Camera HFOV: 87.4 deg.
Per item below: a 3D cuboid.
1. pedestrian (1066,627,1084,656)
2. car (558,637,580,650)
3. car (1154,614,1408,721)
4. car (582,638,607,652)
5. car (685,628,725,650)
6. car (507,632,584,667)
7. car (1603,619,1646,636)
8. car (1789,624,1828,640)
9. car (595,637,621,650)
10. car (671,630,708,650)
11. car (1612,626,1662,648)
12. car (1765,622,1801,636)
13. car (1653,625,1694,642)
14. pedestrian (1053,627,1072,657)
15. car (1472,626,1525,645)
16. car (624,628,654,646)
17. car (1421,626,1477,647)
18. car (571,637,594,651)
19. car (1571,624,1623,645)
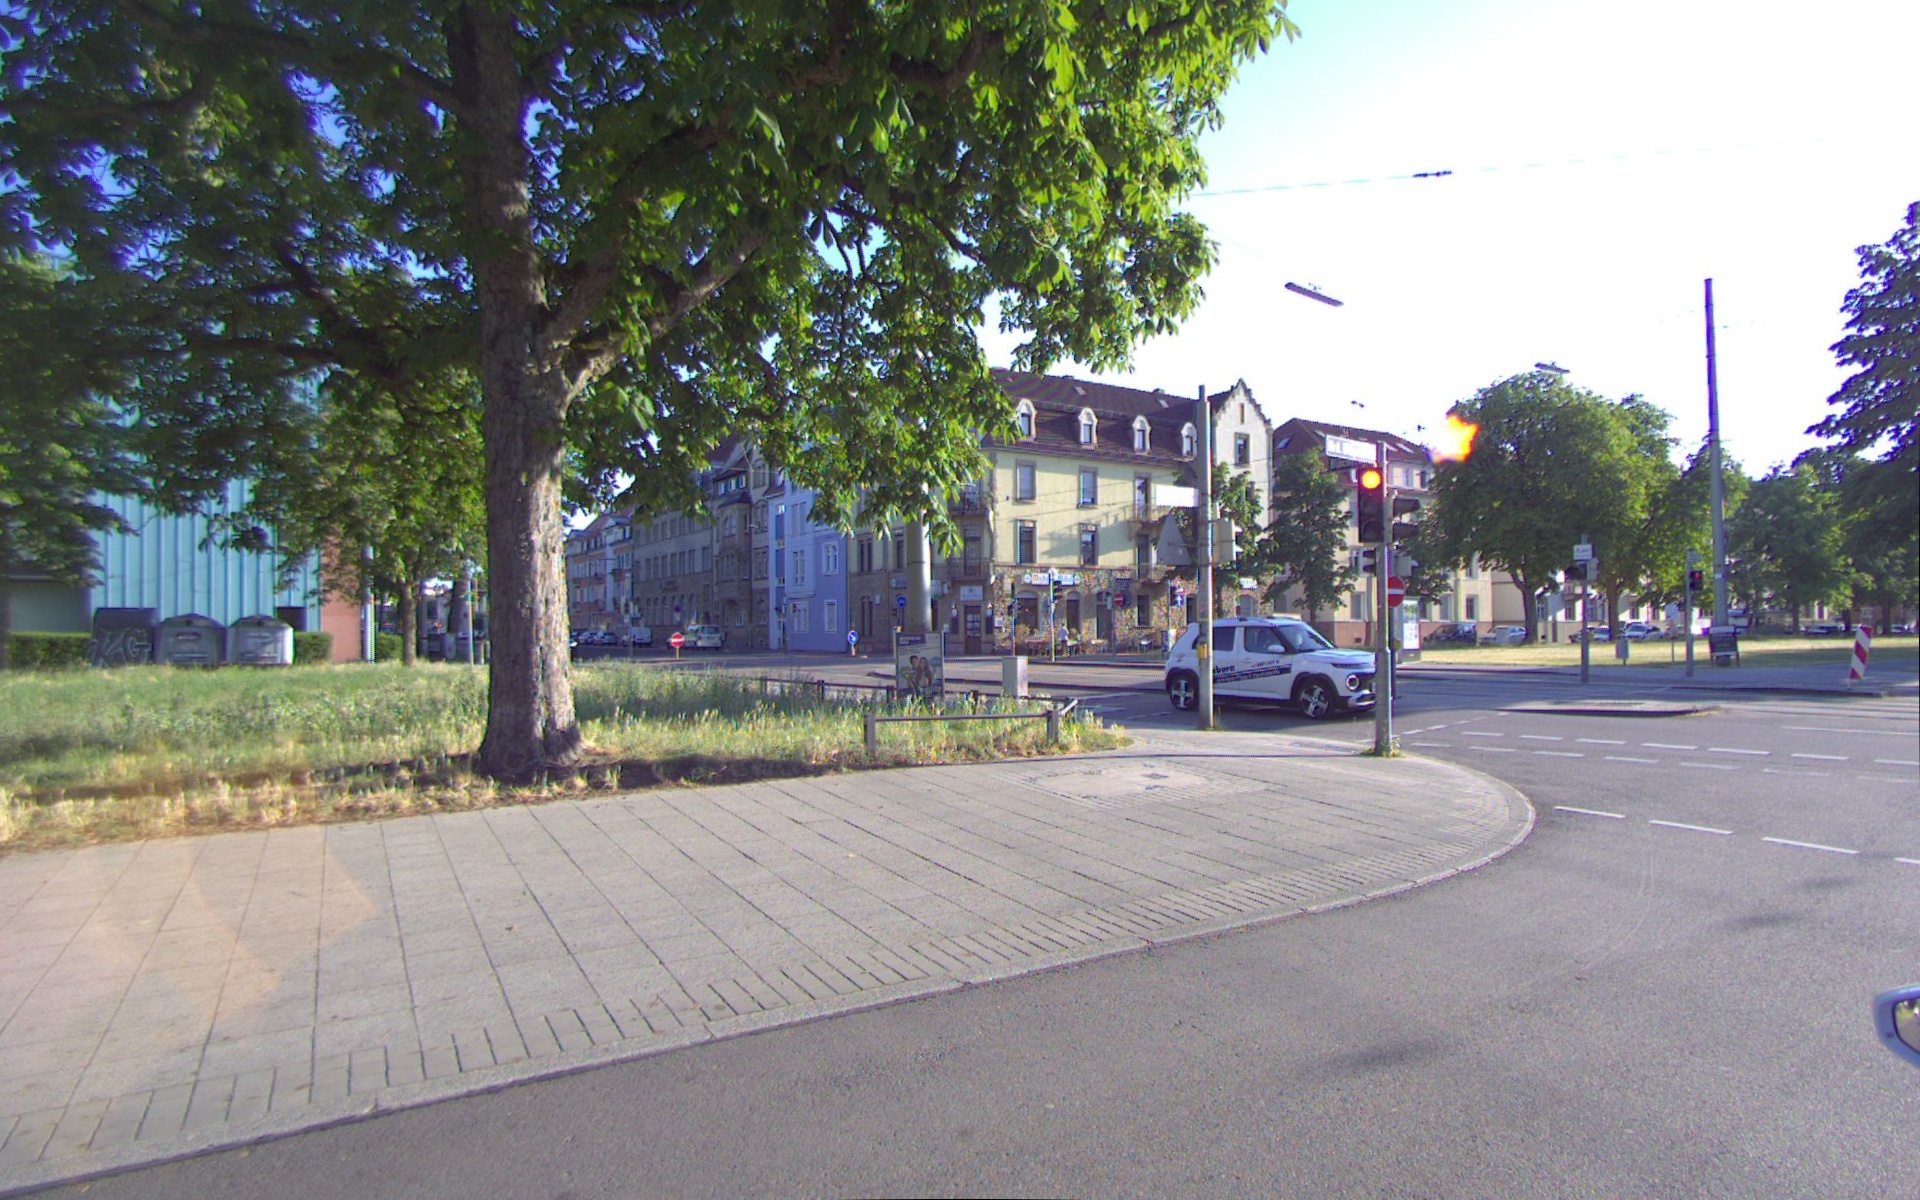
[{"bbox_3d":[6.518,2.357,57.129,0.715,1.664,0.811,0,-1,-23],"label":"pedestrian"},{"bbox_3d":[-45.880,5.096,117.883,1.867,1.433,4.013,1,-2,-29],"label":"car"},{"bbox_3d":[5.362,1.115,17.165,1.599,1.572,3.832,-2,-2,-40],"label":"car"},{"bbox_3d":[-39.449,4.829,108.337,1.867,1.433,4.013,1,-2,-29],"label":"car"},{"bbox_3d":[-19.962,3.048,78.480,2.074,1.612,4.014,2,-2,-29],"label":"car"},{"bbox_3d":[-20.871,2.438,50.517,4.498,1.685,1.869,-2,-2,42],"label":"car"},{"bbox_3d":[57.520,2.357,86.917,3.749,1.446,1.729,1,-1,-31],"label":"car"},{"bbox_3d":[80.174,2.998,94.955,3.749,1.446,1.729,1,-1,-31],"label":"car"},{"bbox_3d":[-36.407,4.452,103.890,1.867,1.299,4.013,1,-2,-29],"label":"car"},{"bbox_3d":[-22.436,3.301,83.319,2.074,1.612,4.014,2,-2,-29],"label":"car"},{"bbox_3d":[51.269,2.782,76.092,3.748,1.446,1.729,-1,0,-31],"label":"car"},{"bbox_3d":[86.091,3.005,105.083,3.749,1.446,1.729,1,-1,-31],"label":"car"},{"bbox_3d":[65.883,3.081,92.752,3.749,1.446,1.729,1,-2,-31],"label":"car"},{"bbox_3d":[5.758,2.350,56.327,0.810,1.664,0.716,1,-2,-43],"label":"pedestrian"},{"bbox_3d":[40.915,2.679,76.286,3.741,1.446,1.732,0,-1,-26],"label":"car"},{"bbox_3d":[-30.118,3.431,94.096,1.888,1.610,4.013,2,-2,-29],"label":"car"},{"bbox_3d":[35.474,2.631,72.904,3.741,1.416,1.733,0,-2,-26],"label":"car"},{"bbox_3d":[-42.694,4.943,113.479,1.867,1.433,4.013,1,-2,-29],"label":"car"},{"bbox_3d":[46.223,2.491,72.874,3.749,1.446,1.729,0,-1,-31],"label":"car"}]
